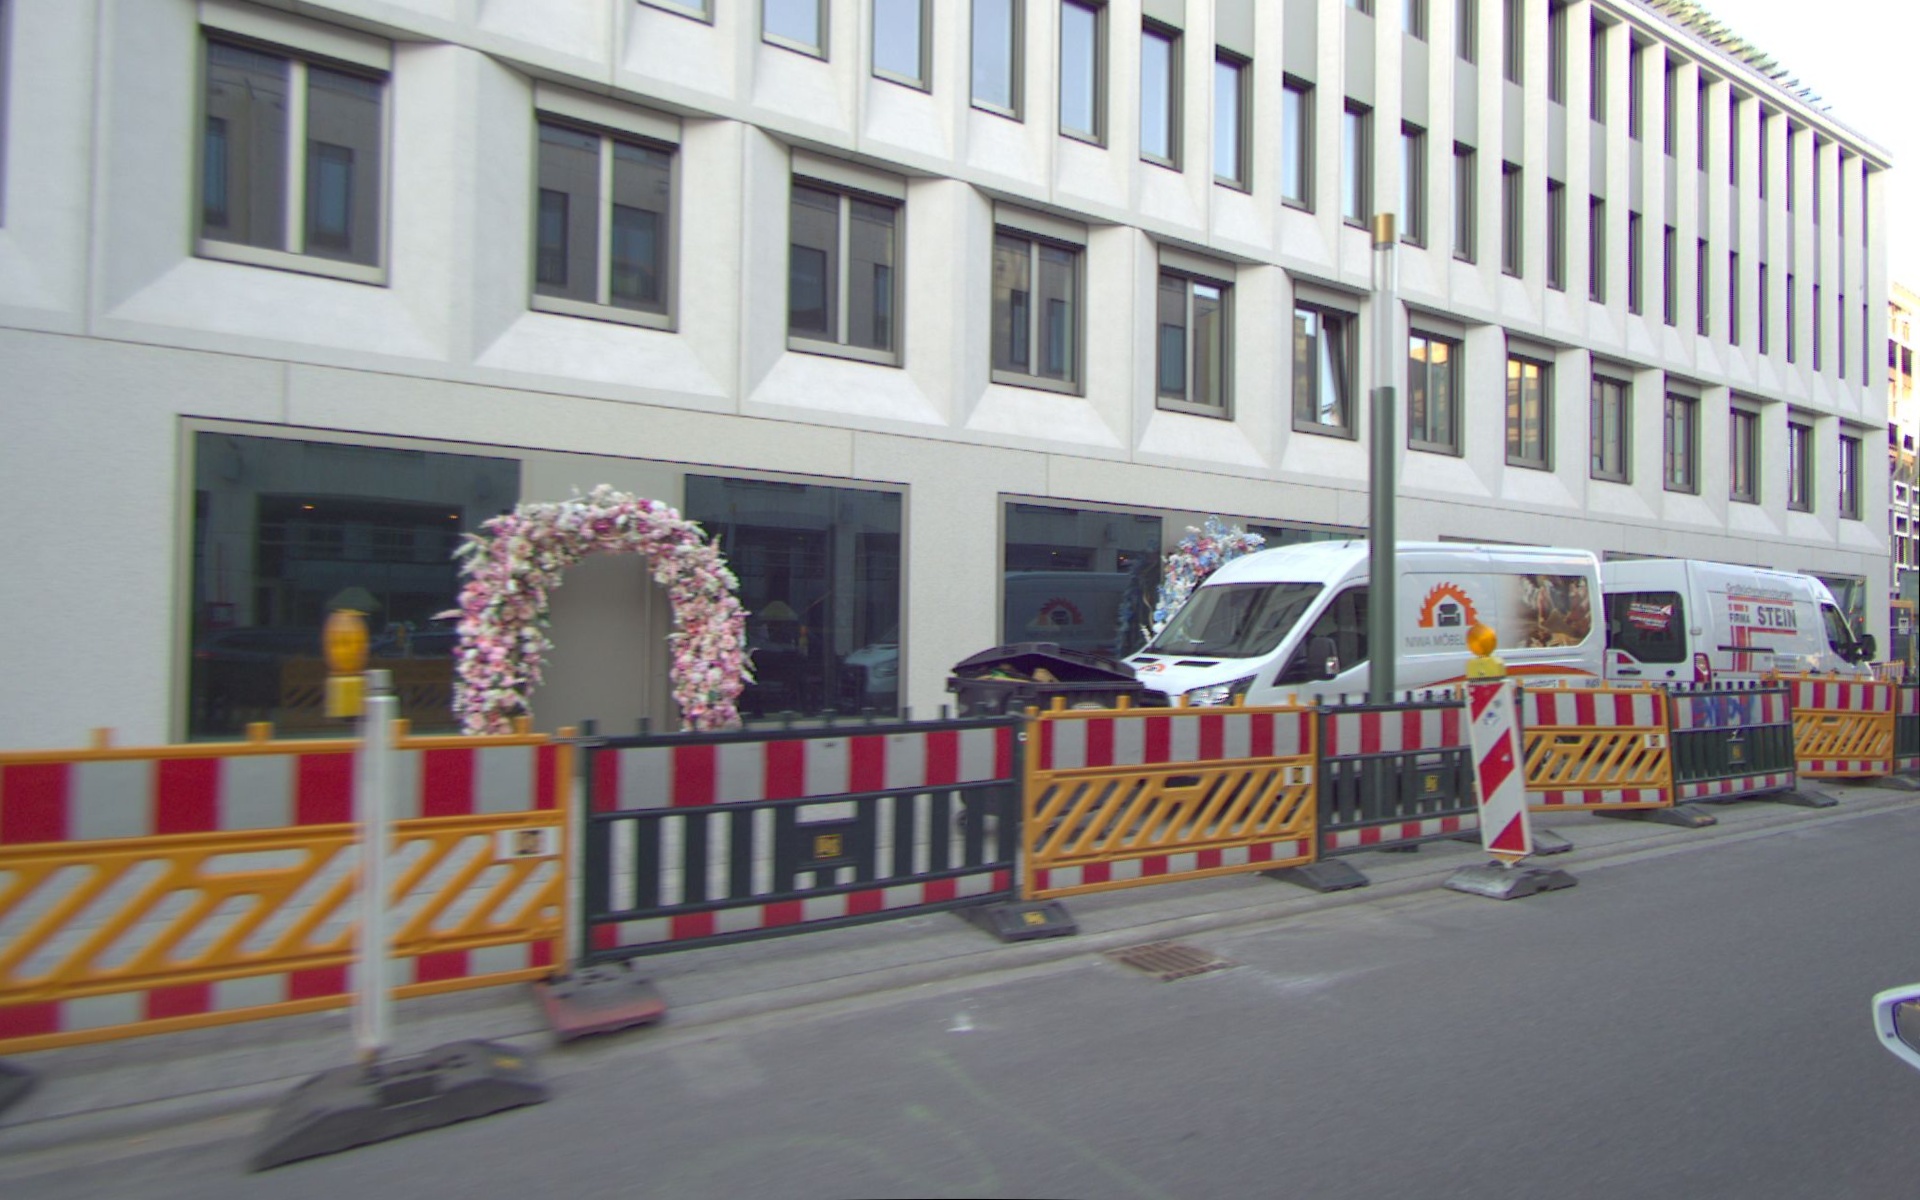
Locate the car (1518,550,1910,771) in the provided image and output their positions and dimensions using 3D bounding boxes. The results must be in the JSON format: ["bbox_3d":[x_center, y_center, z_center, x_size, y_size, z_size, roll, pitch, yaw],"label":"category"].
[{"bbox_3d":[10.461,0.781,13.802,5.927,2.503,2.164,2,-2,-30],"label":"car"}]

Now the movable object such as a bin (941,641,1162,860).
[{"bbox_3d":[0.718,1.074,7.780,1.383,1.485,1.034,2,-2,-41],"label":"movable object such as a bin"}]

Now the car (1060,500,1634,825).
[{"bbox_3d":[4.067,0.575,10.153,5.927,2.503,2.164,2,-2,-29],"label":"car"}]
